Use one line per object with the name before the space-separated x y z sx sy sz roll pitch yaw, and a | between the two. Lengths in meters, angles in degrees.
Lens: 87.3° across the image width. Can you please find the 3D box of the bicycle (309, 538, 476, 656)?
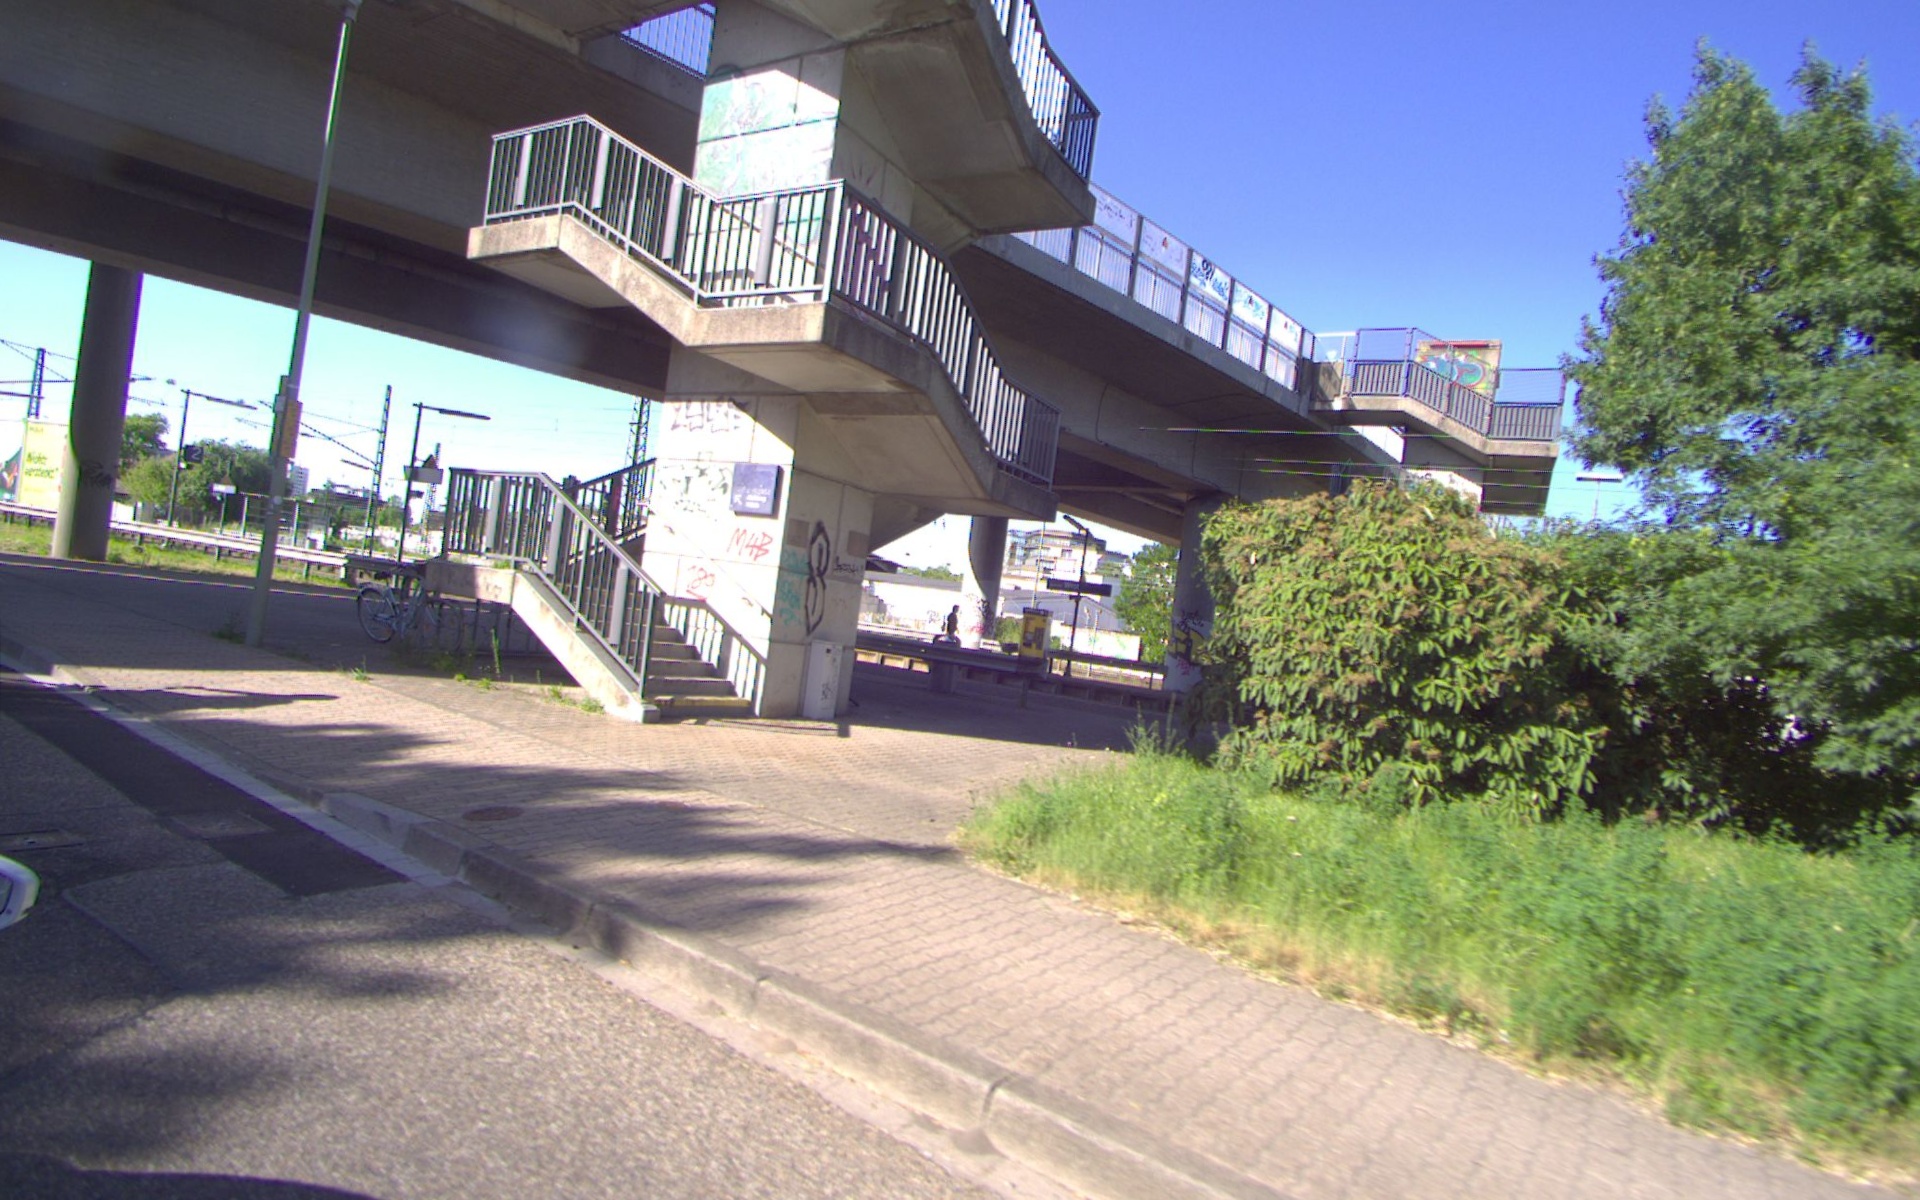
bicycle | -7.007 -0.051 12.383 2.143 1.197 0.598 7 0 27

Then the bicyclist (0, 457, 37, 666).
bicyclist | -7.484 -0.344 7.271 0.908 1.506 0.842 7 0 29

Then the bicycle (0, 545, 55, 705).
bicycle | -7.634 0.072 7.330 2.152 1.064 0.842 7 0 30

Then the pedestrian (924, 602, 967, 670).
pedestrian | -0.463 1.160 32.031 0.821 2.038 0.894 7 0 29
